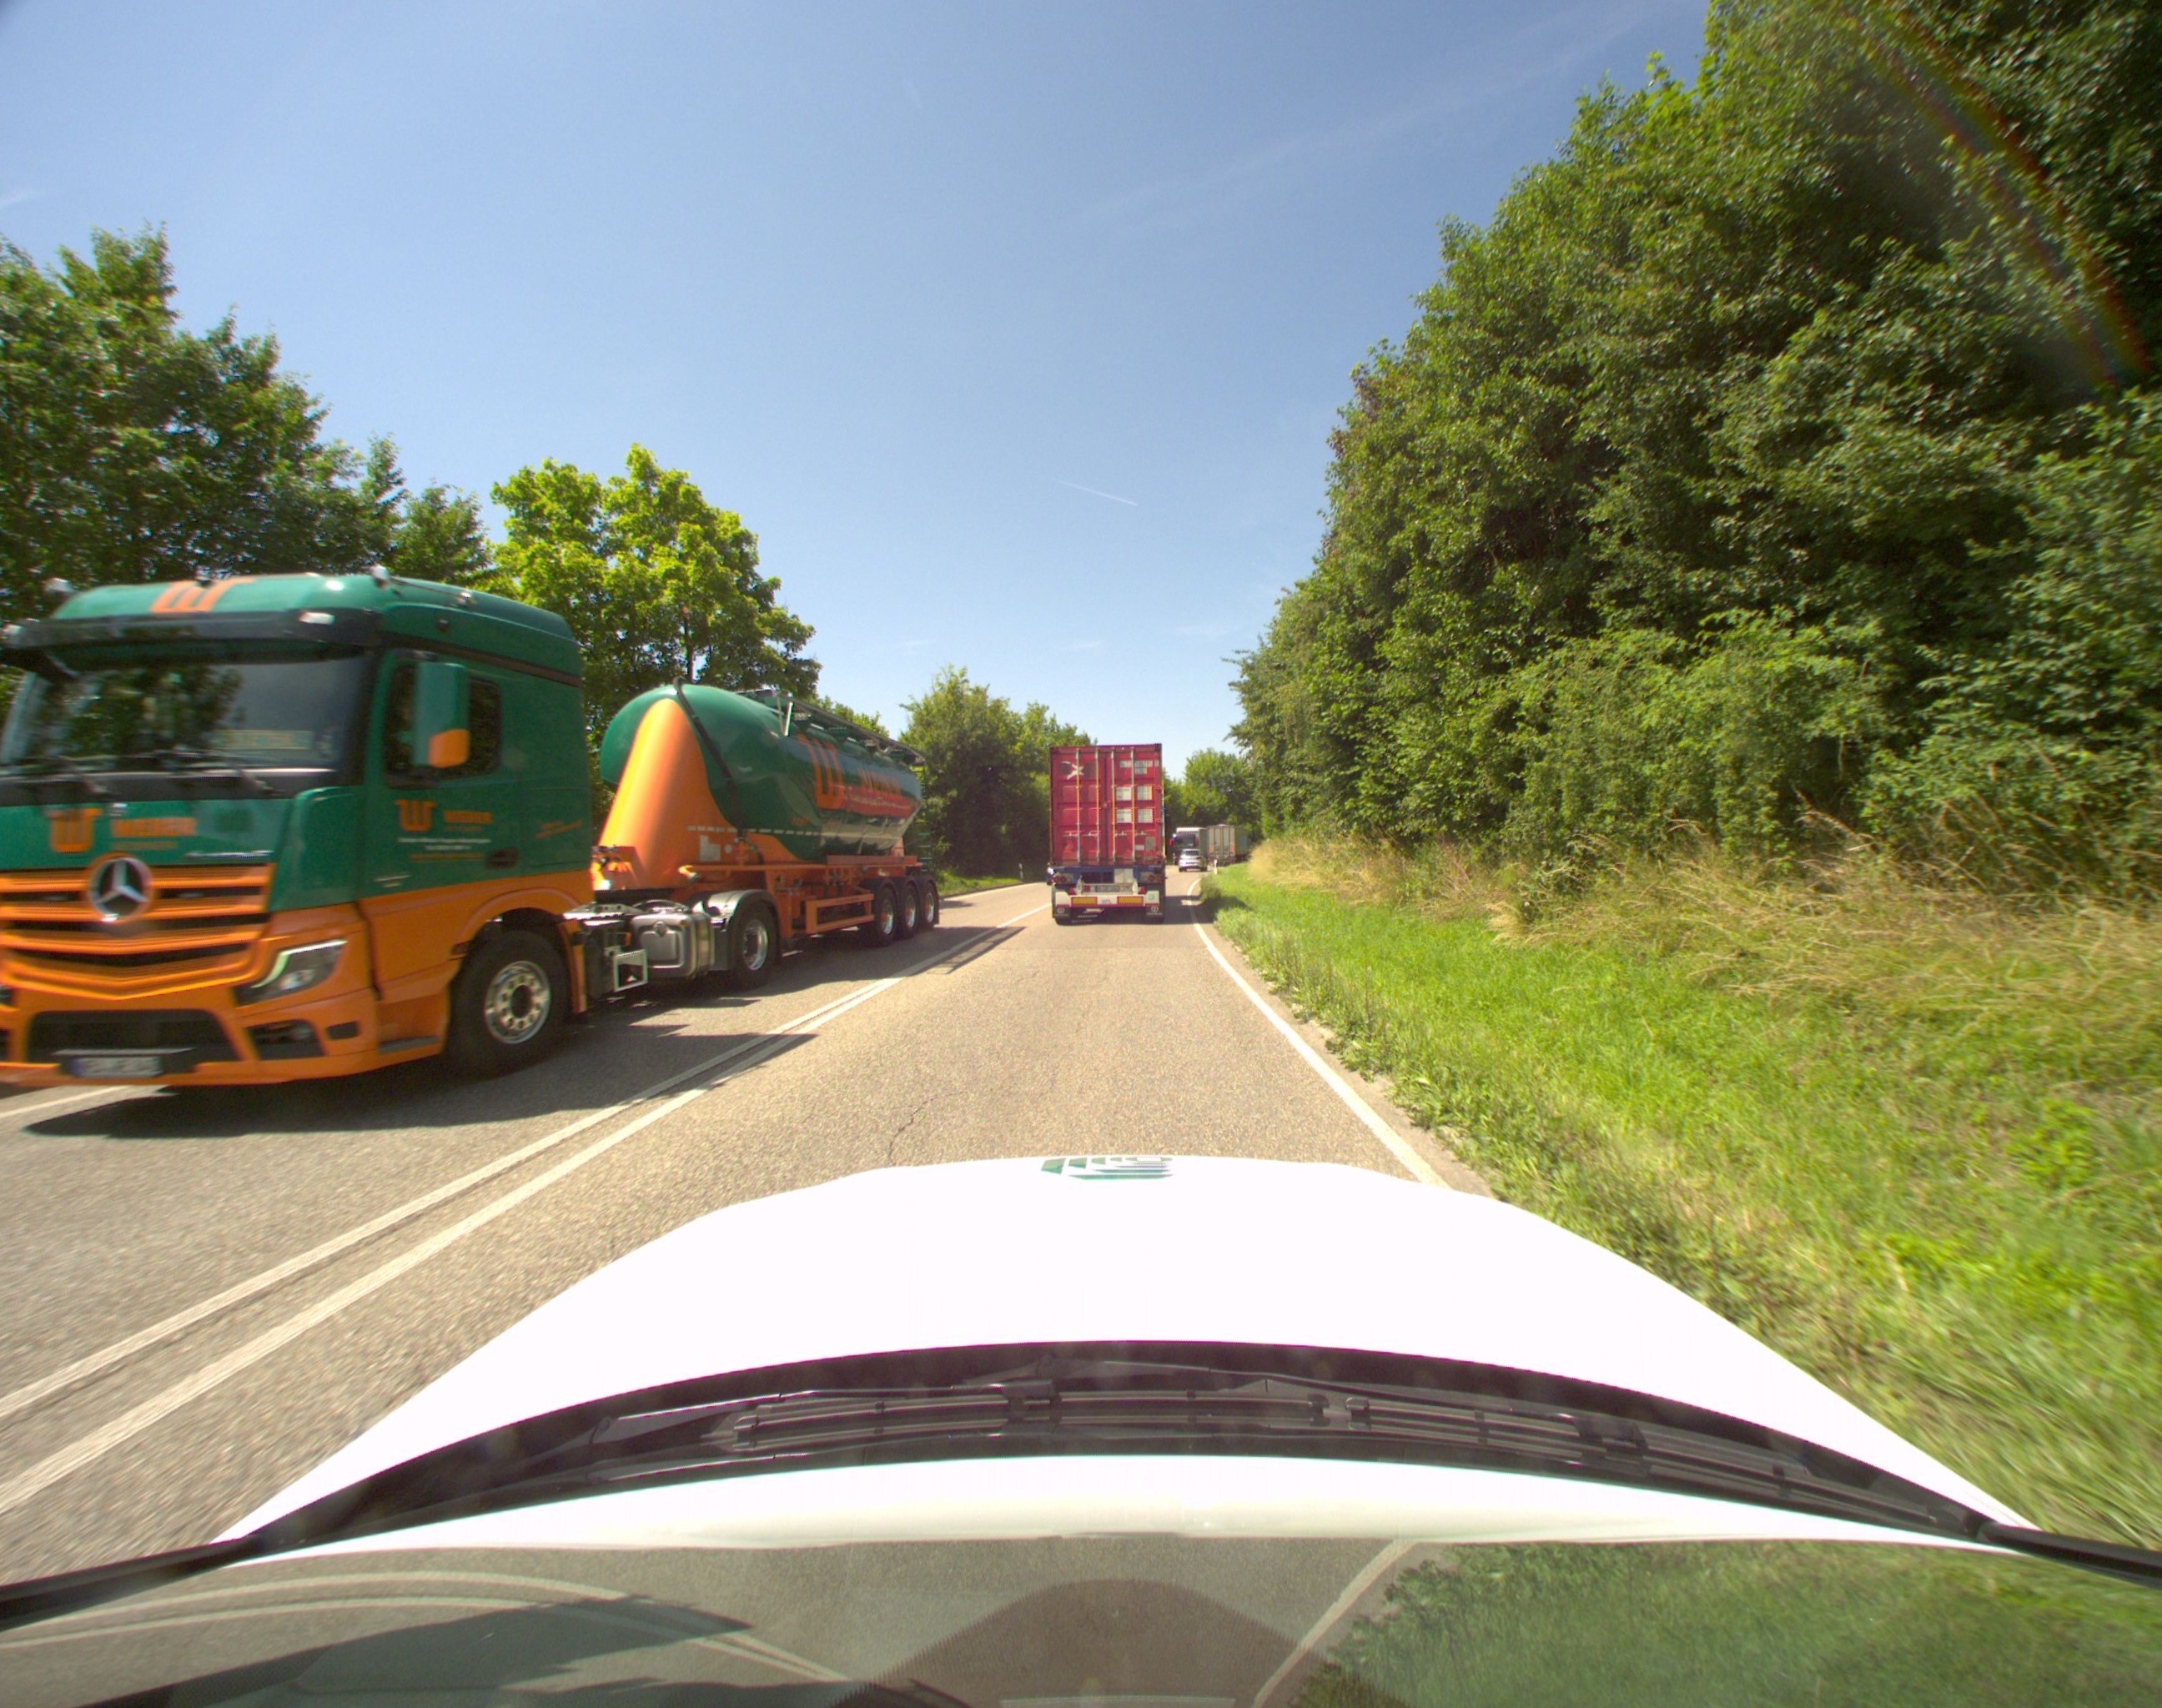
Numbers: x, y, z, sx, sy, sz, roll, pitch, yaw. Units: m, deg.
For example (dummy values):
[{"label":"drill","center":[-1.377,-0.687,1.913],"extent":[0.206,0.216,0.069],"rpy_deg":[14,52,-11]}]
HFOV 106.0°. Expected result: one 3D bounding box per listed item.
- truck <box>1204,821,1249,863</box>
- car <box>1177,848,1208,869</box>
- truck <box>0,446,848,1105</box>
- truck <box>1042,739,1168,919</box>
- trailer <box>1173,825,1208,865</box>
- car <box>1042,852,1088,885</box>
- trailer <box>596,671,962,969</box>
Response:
[{"label":"truck","center":[14.823,-1.179,81.963],"extent":[2.899,3.717,13.418],"rpy_deg":[-2,0,17]},{"label":"car","center":[8.315,0.322,60.642],"extent":[1.820,1.433,4.014],"rpy_deg":[-3,-1,13]},{"label":"truck","center":[-5.211,-0.433,8.563],"extent":[2.566,3.680,7.886],"rpy_deg":[-1,0,5]},{"label":"truck","center":[1.207,-0.494,23.937],"extent":[2.634,3.806,13.382],"rpy_deg":[-1,0,6]},{"label":"trailer","center":[12.455,-0.897,91.637],"extent":[2.901,4.183,11.303],"rpy_deg":[-1,0,13]},{"label":"car","center":[-0.762,0.679,40.847],"extent":[1.674,1.529,4.079],"rpy_deg":[-1,0,7]},{"label":"trailer","center":[-4.588,-0.436,14.983],"extent":[2.565,3.819,8.929],"rpy_deg":[-1,0,6]}]
